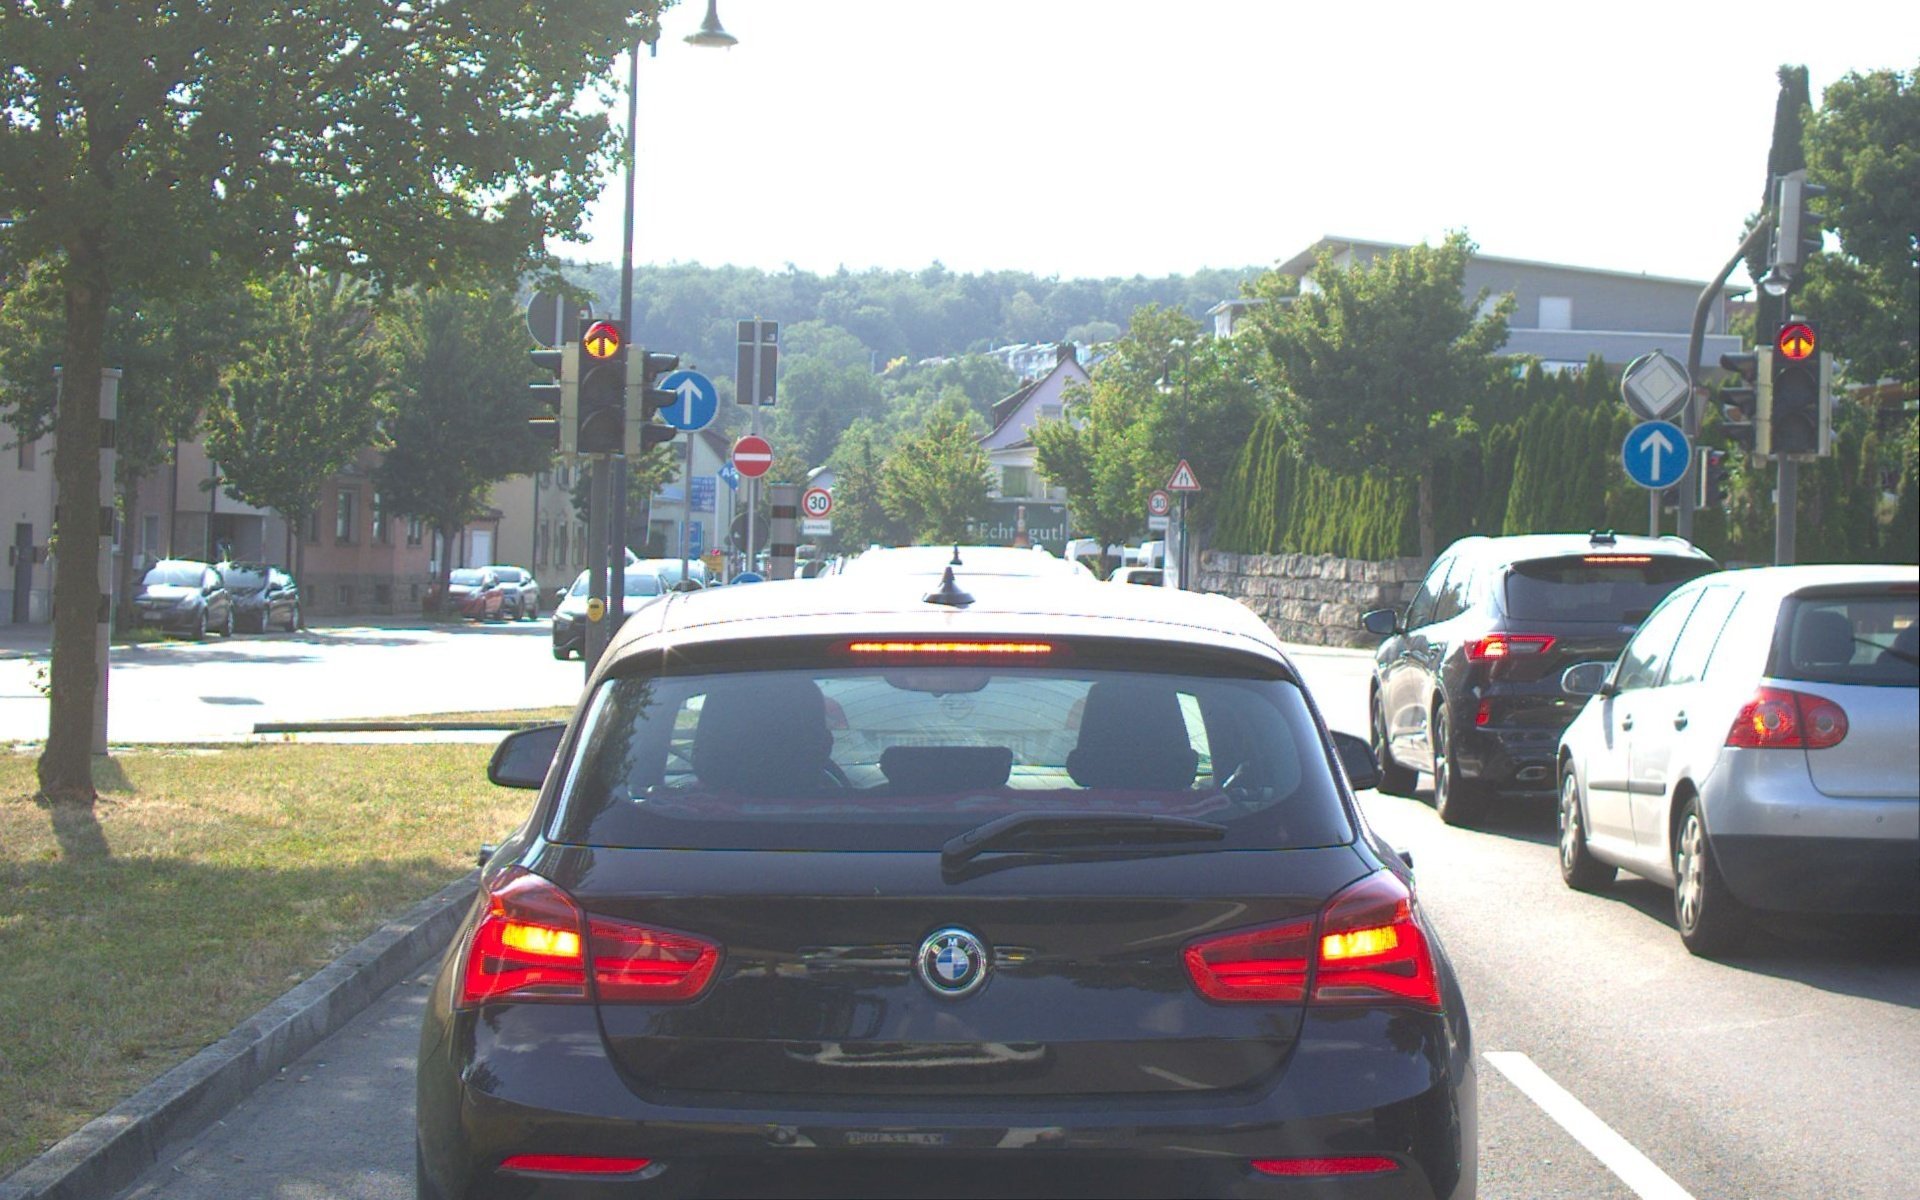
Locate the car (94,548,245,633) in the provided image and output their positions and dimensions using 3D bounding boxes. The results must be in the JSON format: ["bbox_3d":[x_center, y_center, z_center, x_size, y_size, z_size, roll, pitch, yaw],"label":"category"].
[{"bbox_3d":[-15.425,-0.209,67.276,1.924,1.590,4.000,1,1,1],"label":"car"}]

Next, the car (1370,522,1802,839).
[{"bbox_3d":[3.577,0.389,20.403,1.816,1.660,4.347,1,1,1],"label":"car"}]

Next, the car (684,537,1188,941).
[{"bbox_3d":[-0.054,0.469,14.606,1.816,1.446,4.242,1,1,1],"label":"car"}]

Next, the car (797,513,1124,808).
[{"bbox_3d":[0.037,0.304,21.408,1.816,1.635,4.242,1,1,1],"label":"car"}]

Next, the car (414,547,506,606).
[{"bbox_3d":[-14.159,-0.682,97.544,1.924,1.590,4.000,1,1,1],"label":"car"}]

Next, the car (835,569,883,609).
[{"bbox_3d":[-4.259,-0.481,145.469,1.924,1.590,4.000,1,1,-1],"label":"car"}]

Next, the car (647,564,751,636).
[{"bbox_3d":[-5.251,-0.018,69.471,1.693,1.348,4.000,1,1,1],"label":"car"}]

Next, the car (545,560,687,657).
[{"bbox_3d":[-5.482,0.102,55.193,1.766,1.453,4.000,1,1,1],"label":"car"}]

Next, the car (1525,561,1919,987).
[{"bbox_3d":[3.549,0.584,14.043,1.816,1.441,4.347,1,1,1],"label":"car"}]

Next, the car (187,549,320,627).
[{"bbox_3d":[-15.065,-0.283,73.534,1.924,1.590,4.000,1,1,1],"label":"car"}]

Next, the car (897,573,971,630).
[{"bbox_3d":[-0.828,0.023,107.341,1.890,1.696,4.525,-1,1,-6],"label":"car"}]

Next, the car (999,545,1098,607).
[{"bbox_3d":[2.191,-0.631,86.392,1.861,1.480,4.660,1,1,-6],"label":"car"}]

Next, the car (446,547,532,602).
[{"bbox_3d":[-14.094,-0.773,103.049,1.924,1.590,4.000,1,1,1],"label":"car"}]

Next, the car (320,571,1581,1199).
[{"bbox_3d":[0.017,0.674,7.083,1.791,1.410,4.347,1,1,1],"label":"car"}]

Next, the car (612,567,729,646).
[{"bbox_3d":[-5.230,0.097,62.573,1.693,1.348,4.000,1,1,1],"label":"car"}]
